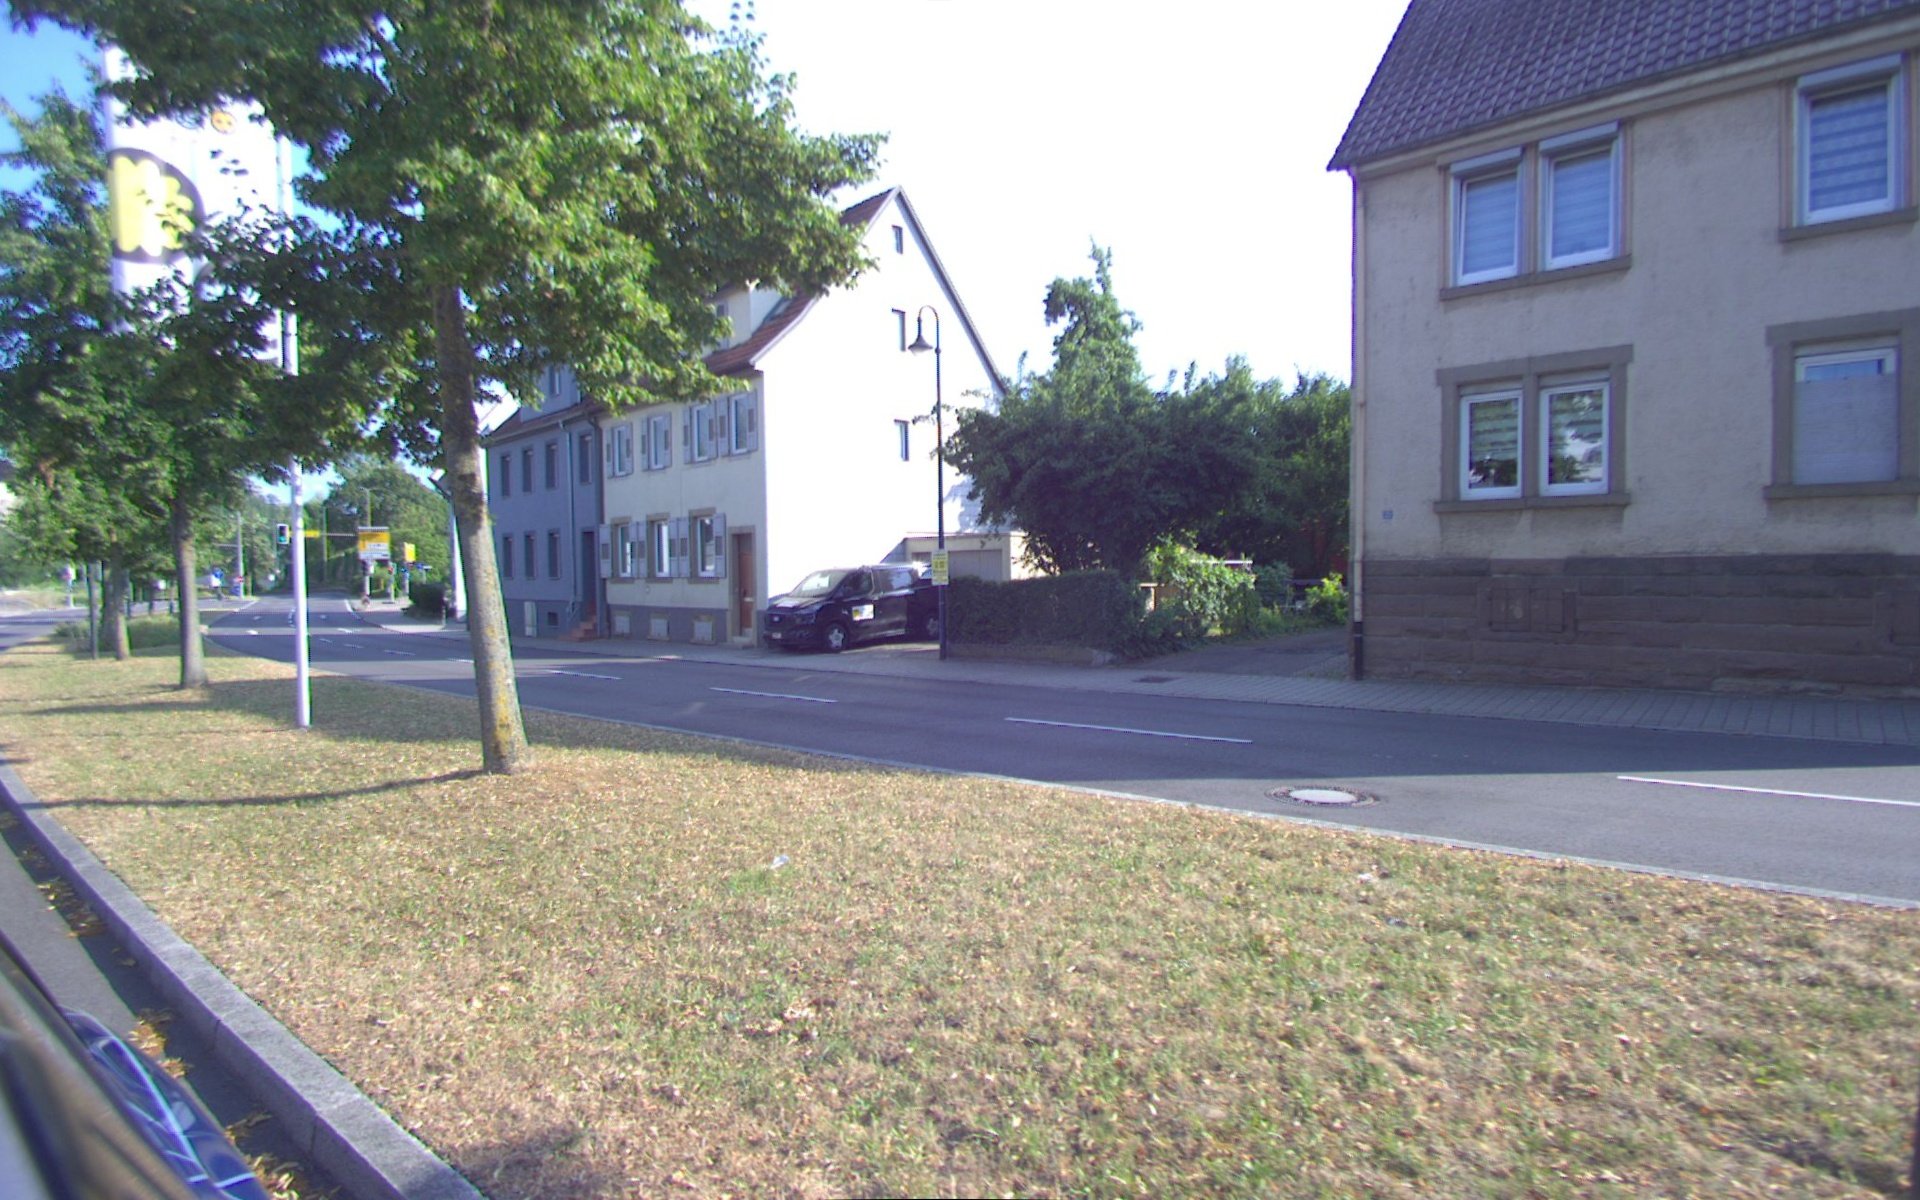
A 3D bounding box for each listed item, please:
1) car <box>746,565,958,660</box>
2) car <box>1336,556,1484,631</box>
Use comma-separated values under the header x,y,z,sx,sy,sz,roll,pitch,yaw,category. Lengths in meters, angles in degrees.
x,y,z,sx,sy,sz,roll,pitch,yaw,category
-2.516,0.226,24.436,4.767,1.891,2.002,-4,2,-43,car
10.048,-0.174,22.486,3.652,1.497,1.688,-3,1,-43,car
